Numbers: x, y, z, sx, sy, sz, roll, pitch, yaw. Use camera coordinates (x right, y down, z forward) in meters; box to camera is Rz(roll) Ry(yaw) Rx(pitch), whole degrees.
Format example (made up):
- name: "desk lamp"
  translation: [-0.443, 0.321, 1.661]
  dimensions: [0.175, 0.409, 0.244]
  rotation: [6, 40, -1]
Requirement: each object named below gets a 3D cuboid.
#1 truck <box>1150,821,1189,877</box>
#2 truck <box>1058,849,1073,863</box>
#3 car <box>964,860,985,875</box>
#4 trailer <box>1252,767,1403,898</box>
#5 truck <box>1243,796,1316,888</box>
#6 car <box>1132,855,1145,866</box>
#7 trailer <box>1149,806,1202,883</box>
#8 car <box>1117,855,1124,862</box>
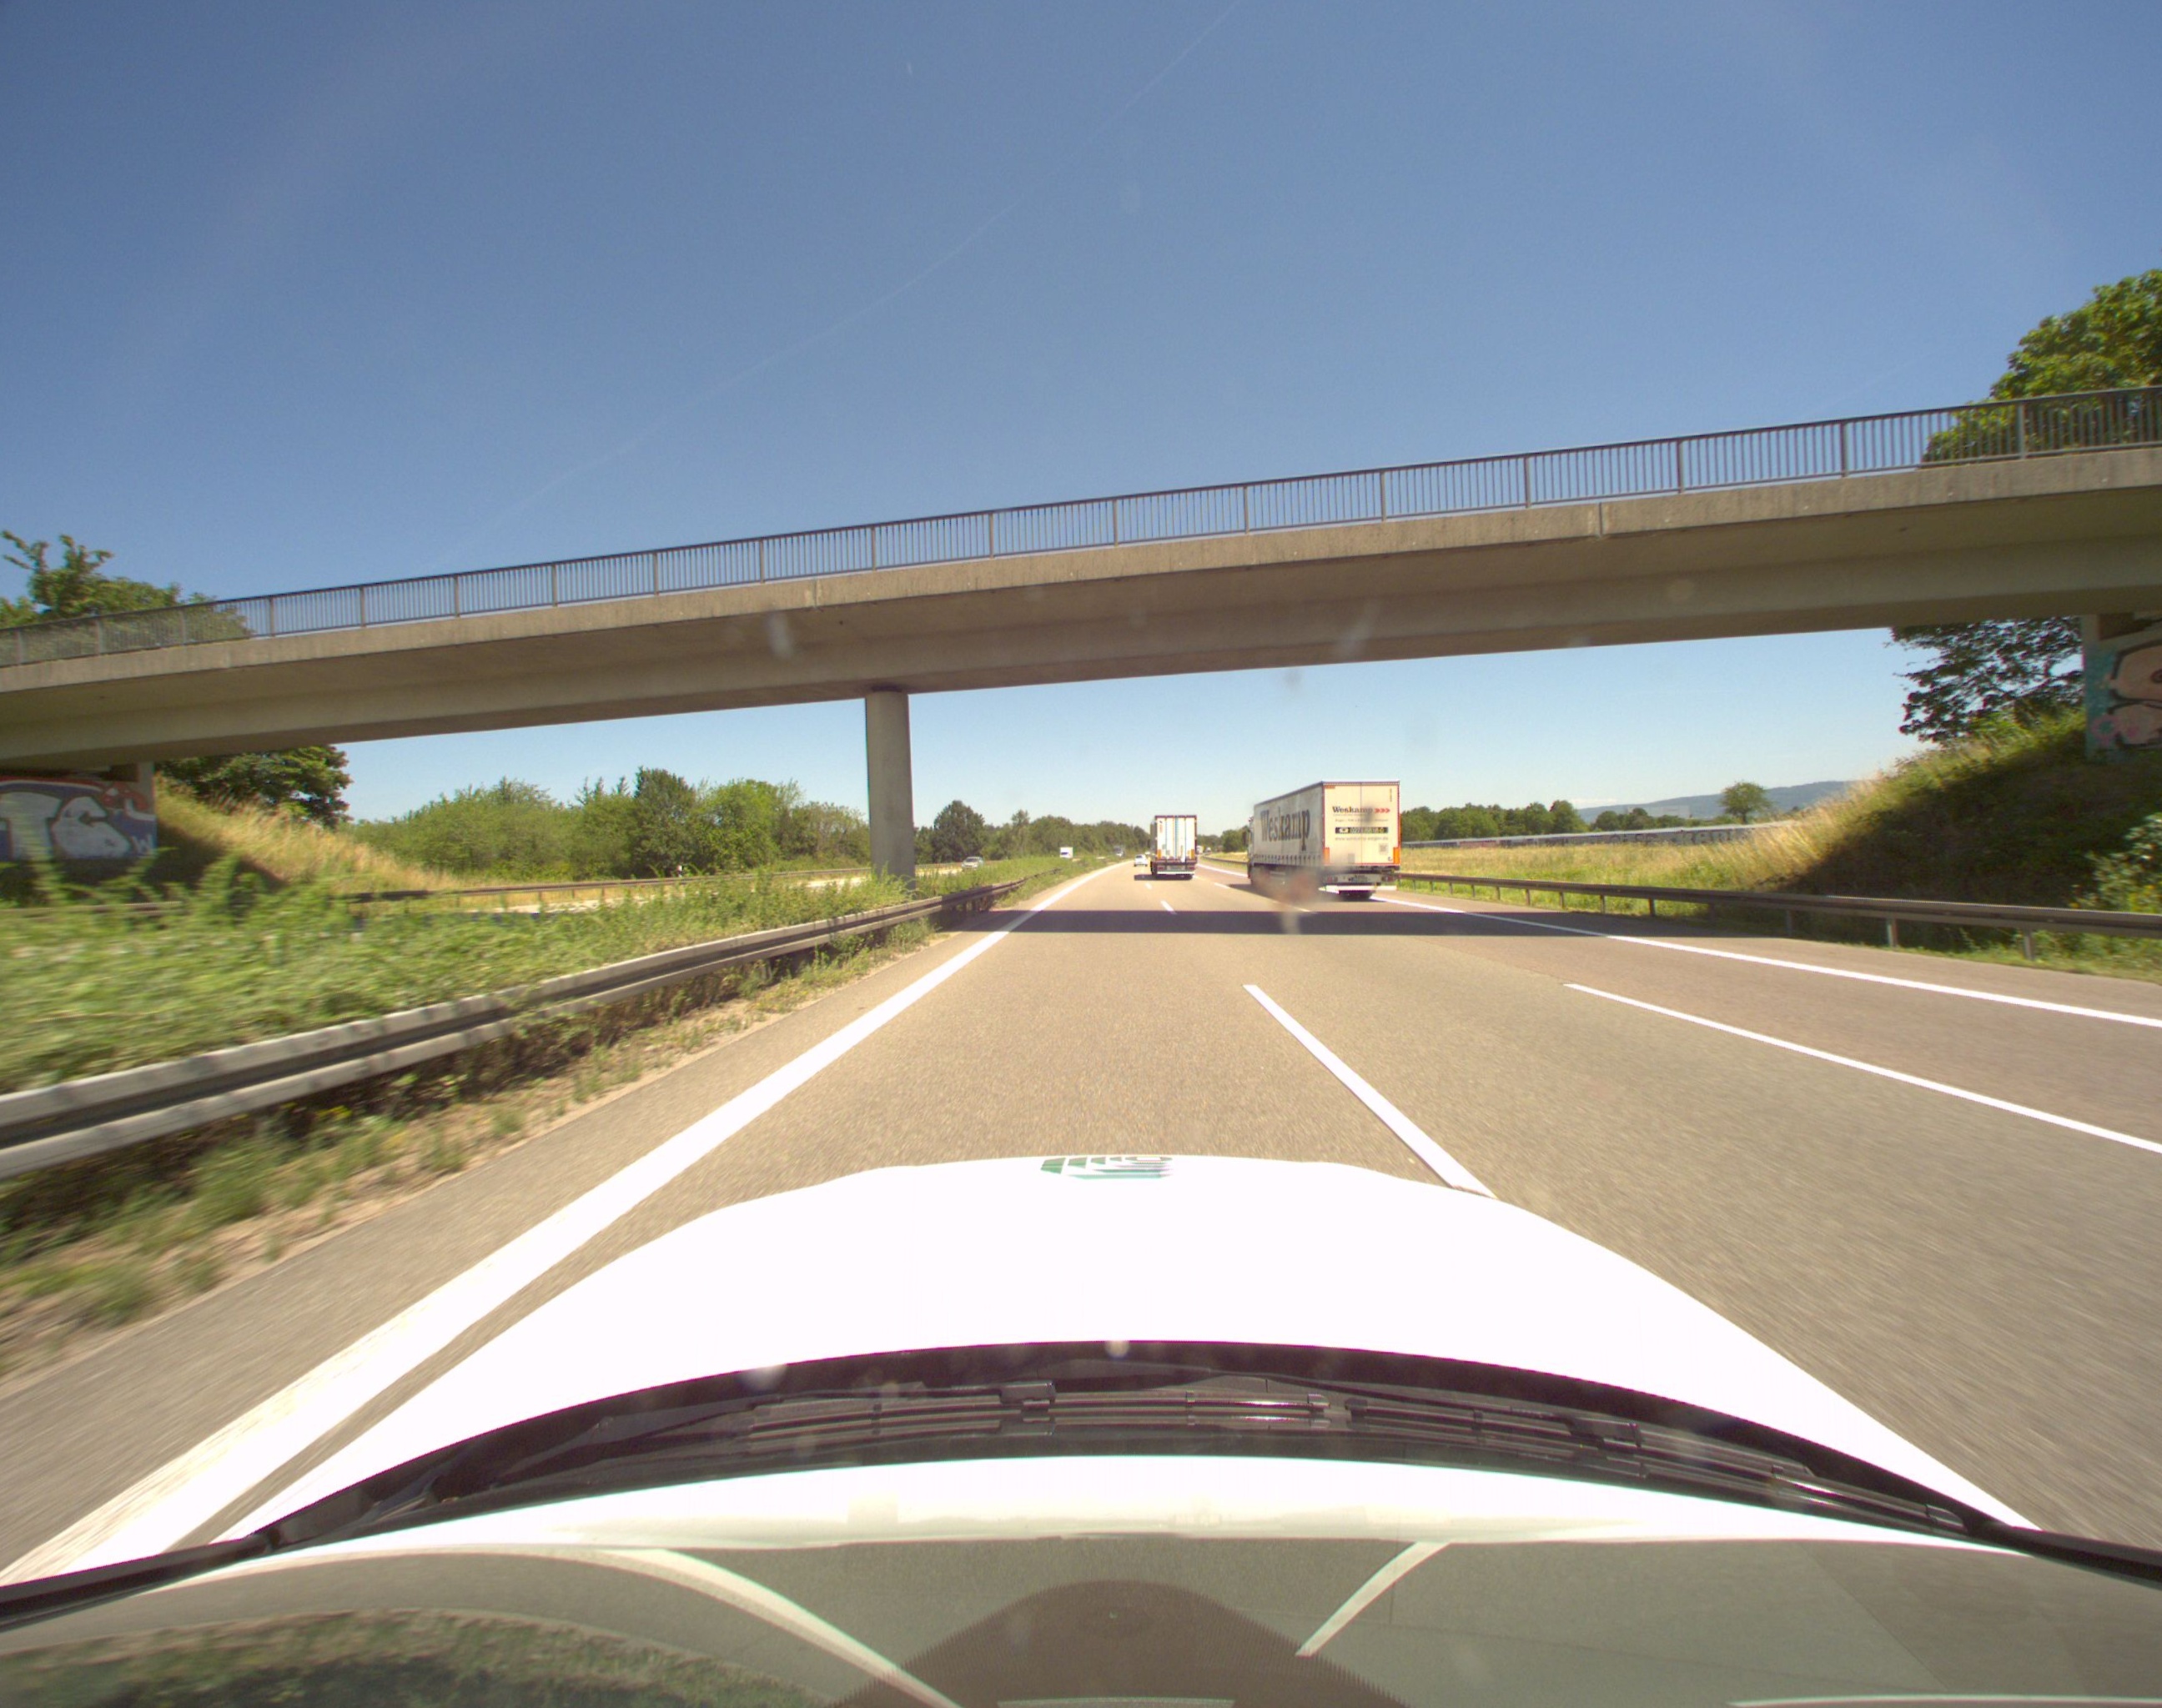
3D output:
- name: "truck"
  translation: [6.904, -0.393, 64.176]
  dimensions: [2.895, 4.256, 4.980]
  rotation: [0, 0, 4]
- name: "truck"
  translation: [-3.414, 0.426, 178.987]
  dimensions: [2.440, 3.098, 7.000]
  rotation: [-1, 0, 5]
- name: "car"
  translation: [-11.862, 1.538, 90.760]
  dimensions: [1.704, 1.574, 4.404]
  rotation: [-2, 0, 1]
- name: "trailer"
  translation: [9.466, -0.632, 33.399]
  dimensions: [2.585, 4.252, 13.648]
  rotation: [0, -1, 2]
- name: "truck"
  translation: [9.781, -0.552, 40.616]
  dimensions: [2.590, 4.256, 5.092]
  rotation: [0, 0, 3]
- name: "car"
  translation: [7.568, 0.869, 106.929]
  dimensions: [1.620, 1.479, 4.004]
  rotation: [-1, 0, 4]
- name: "trailer"
  translation: [6.382, -0.590, 56.777]
  dimensions: [2.888, 4.657, 13.999]
  rotation: [0, 0, 4]
- name: "car"
  translation: [12.421, 1.343, 259.021]
  dimensions: [2.049, 2.071, 5.415]
  rotation: [-2, 0, 4]
